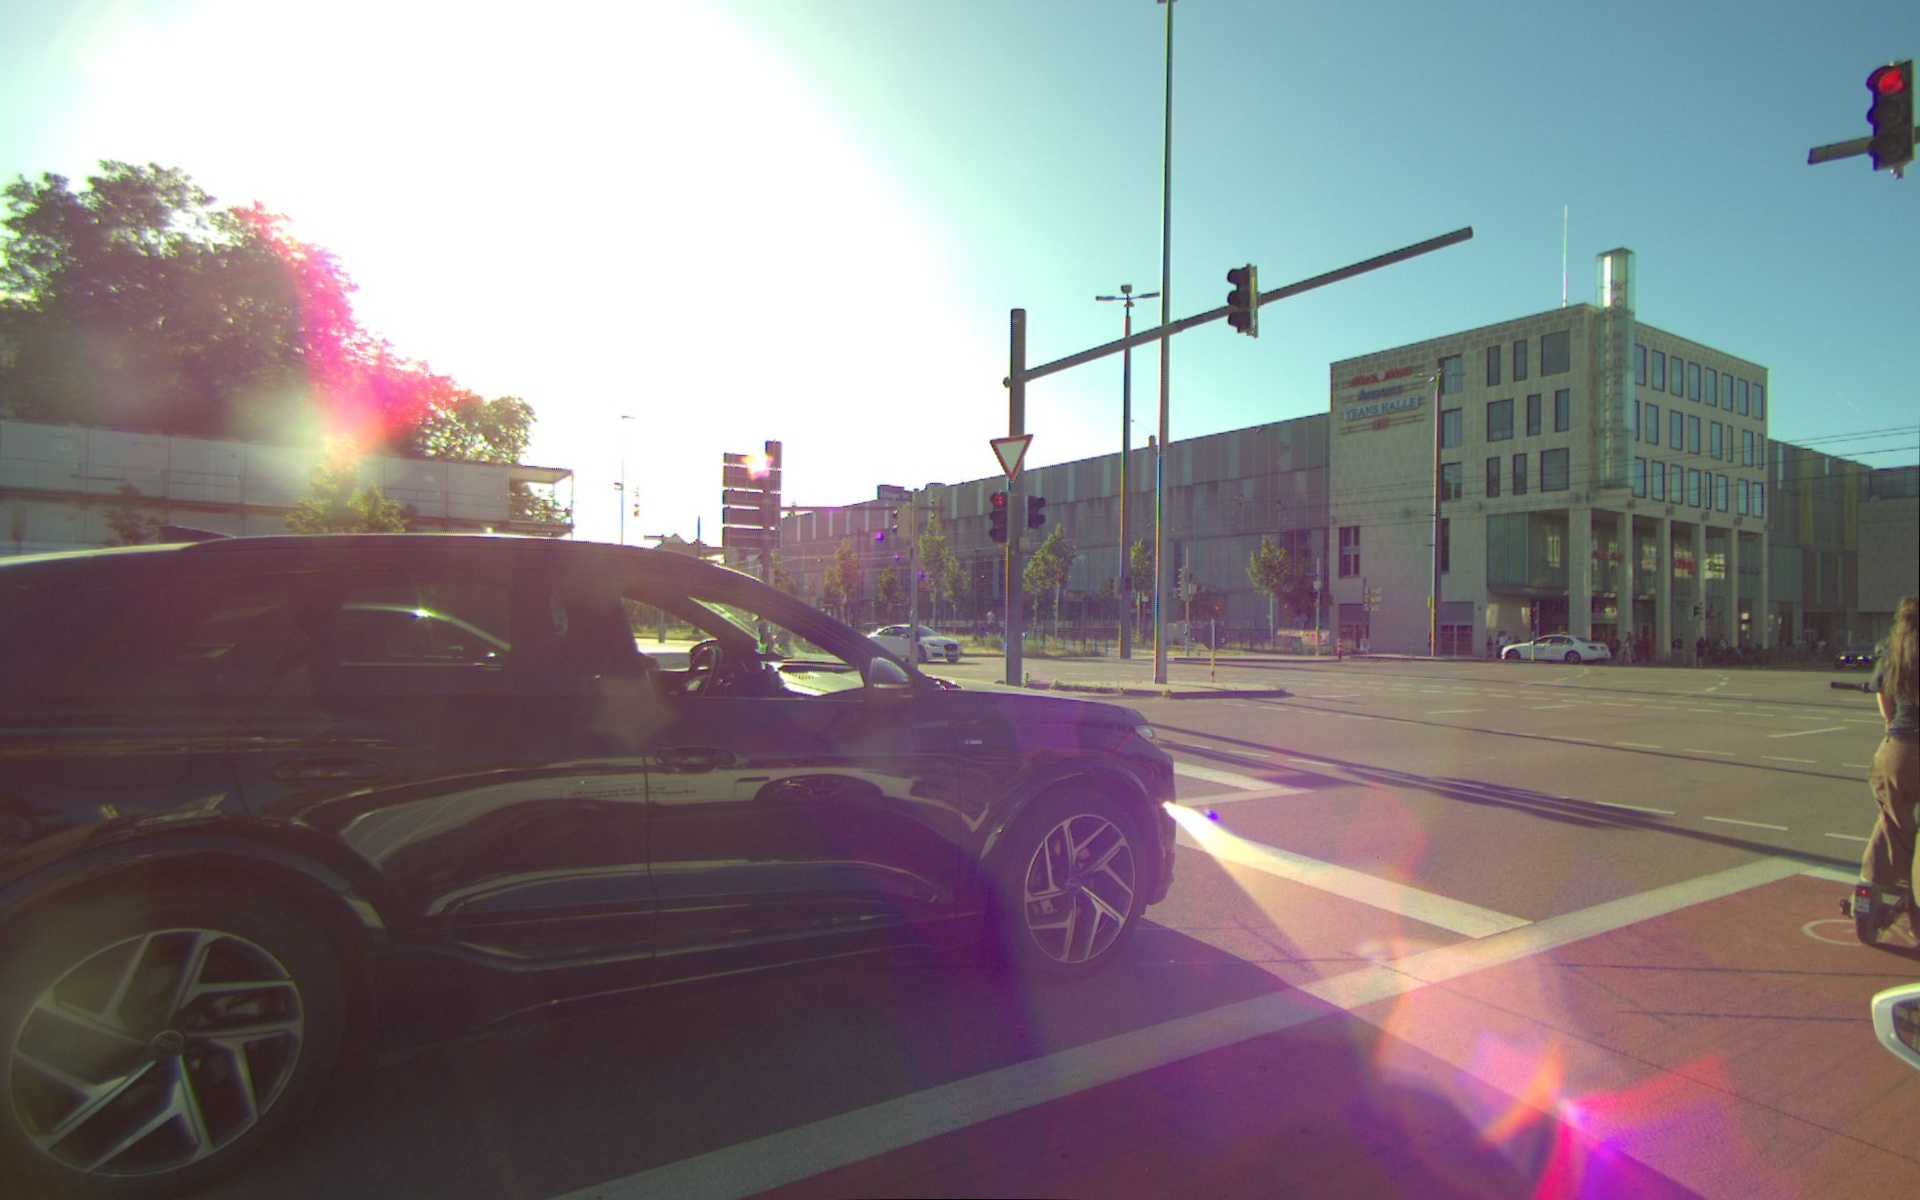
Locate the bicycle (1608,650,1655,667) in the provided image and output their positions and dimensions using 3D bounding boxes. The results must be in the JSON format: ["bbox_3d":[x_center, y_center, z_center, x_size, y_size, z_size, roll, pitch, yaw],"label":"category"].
[{"bbox_3d":[37.464,3.247,56.029,2.174,0.915,0.637,0,-1,1],"label":"bicycle"}]

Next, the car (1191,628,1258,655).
[{"bbox_3d":[17.933,2.796,68.199,1.805,1.706,4.379,1,-2,-32],"label":"car"}]

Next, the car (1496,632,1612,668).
[{"bbox_3d":[30.096,2.492,51.035,1.806,1.706,4.817,1,-2,-33],"label":"car"}]

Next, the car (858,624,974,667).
[{"bbox_3d":[-1.826,1.760,39.833,1.984,1.585,5.041,2,-2,-40],"label":"car"}]

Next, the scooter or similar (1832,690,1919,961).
[{"bbox_3d":[4.376,1.010,4.726,0.832,1.122,0.303,2,-1,-42],"label":"scooter or similar"}]

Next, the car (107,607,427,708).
[{"bbox_3d":[-10.542,0.846,15.648,3.897,1.395,1.715,1,-1,-30],"label":"car"}]

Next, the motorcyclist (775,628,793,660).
[{"bbox_3d":[-8.485,2.107,48.434,0.594,1.499,0.744,1,-1,-37],"label":"motorcyclist"}]

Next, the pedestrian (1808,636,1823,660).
[{"bbox_3d":[64.553,3.636,75.758,0.681,1.752,0.472,2,0,9],"label":"pedestrian"}]

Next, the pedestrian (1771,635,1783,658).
[{"bbox_3d":[63.746,3.624,78.366,0.510,1.752,0.472,2,0,9],"label":"pedestrian"}]

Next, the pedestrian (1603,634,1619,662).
[{"bbox_3d":[39.210,2.892,60.470,0.622,1.667,0.589,1,-1,-30],"label":"pedestrian"}]

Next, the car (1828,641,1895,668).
[{"bbox_3d":[49.839,2.995,55.528,3.975,1.375,1.668,1,-1,-31],"label":"car"}]

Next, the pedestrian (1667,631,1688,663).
[{"bbox_3d":[43.107,2.807,60.356,0.529,1.889,0.943,1,-1,-13],"label":"pedestrian"}]

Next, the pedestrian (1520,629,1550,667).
[{"bbox_3d":[26.173,2.190,45.699,0.994,1.697,0.818,1,-1,-33],"label":"pedestrian"}]

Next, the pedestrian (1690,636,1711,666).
[{"bbox_3d":[42.438,2.916,57.587,0.617,1.660,0.775,1,-1,-23],"label":"pedestrian"}]

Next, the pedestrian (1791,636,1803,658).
[{"bbox_3d":[65.339,3.681,78.418,0.510,1.705,0.472,2,0,9],"label":"pedestrian"}]

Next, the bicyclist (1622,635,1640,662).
[{"bbox_3d":[37.407,2.701,56.021,0.577,1.467,0.628,1,-1,1],"label":"bicyclist"}]

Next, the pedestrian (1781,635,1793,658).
[{"bbox_3d":[65.142,3.670,79.159,0.510,1.752,0.472,2,0,9],"label":"pedestrian"}]

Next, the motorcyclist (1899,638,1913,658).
[{"bbox_3d":[70.706,3.564,75.056,0.657,1.424,0.623,2,0,-38],"label":"motorcyclist"}]

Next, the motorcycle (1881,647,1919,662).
[{"bbox_3d":[70.645,4.079,74.999,1.106,1.006,2.582,2,0,-38],"label":"motorcycle"}]

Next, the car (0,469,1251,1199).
[{"bbox_3d":[-1.246,0.605,4.083,4.613,1.729,2.153,1,0,-32],"label":"car"}]

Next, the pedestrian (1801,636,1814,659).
[{"bbox_3d":[65.661,3.706,77.831,0.616,1.752,0.471,2,0,-1],"label":"pedestrian"}]

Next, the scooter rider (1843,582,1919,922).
[{"bbox_3d":[4.571,0.699,4.728,0.445,1.550,0.548,1,-1,-38],"label":"scooter rider"}]

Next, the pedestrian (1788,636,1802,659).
[{"bbox_3d":[63.400,3.603,76.266,0.615,1.752,0.472,2,0,4],"label":"pedestrian"}]

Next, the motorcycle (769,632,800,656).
[{"bbox_3d":[-8.447,2.104,48.380,0.643,1.115,1.940,1,-1,-37],"label":"motorcycle"}]
